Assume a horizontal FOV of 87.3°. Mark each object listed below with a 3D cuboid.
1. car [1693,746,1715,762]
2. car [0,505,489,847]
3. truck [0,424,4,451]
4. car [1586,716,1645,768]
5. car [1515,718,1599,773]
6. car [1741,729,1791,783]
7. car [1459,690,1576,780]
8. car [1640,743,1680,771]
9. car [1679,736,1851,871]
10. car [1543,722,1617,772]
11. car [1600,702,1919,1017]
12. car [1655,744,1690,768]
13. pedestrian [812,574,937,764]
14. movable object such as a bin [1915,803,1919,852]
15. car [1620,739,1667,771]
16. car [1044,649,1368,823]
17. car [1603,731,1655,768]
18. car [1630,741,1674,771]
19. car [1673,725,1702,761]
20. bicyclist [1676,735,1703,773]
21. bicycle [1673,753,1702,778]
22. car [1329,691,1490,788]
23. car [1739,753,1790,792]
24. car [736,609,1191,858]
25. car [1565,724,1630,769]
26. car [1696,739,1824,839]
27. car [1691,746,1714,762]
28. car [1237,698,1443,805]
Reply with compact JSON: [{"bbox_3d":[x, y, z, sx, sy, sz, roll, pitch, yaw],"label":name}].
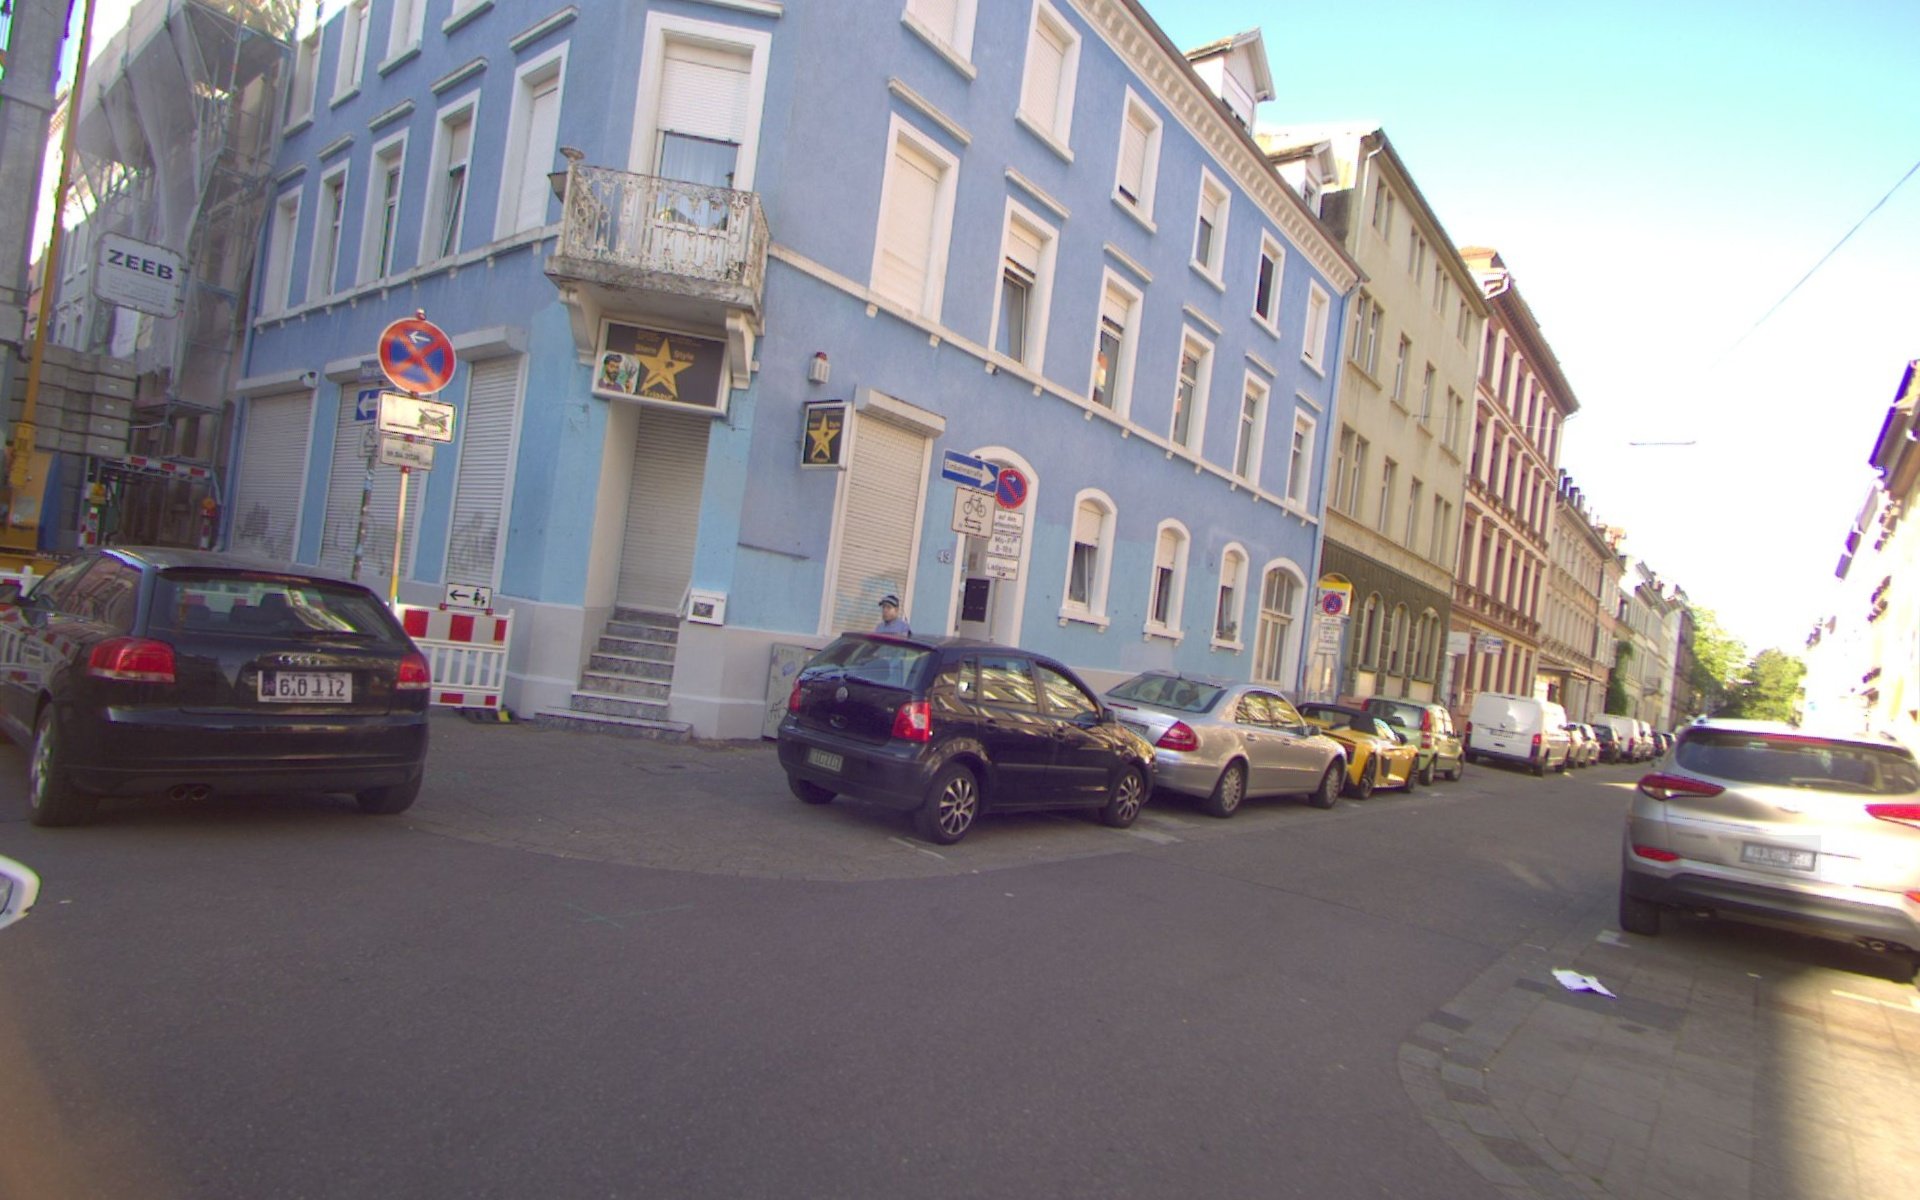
[{"bbox_3d":[82.493,17.043,111.478,1.728,1.529,3.903,2,-5,40],"label":"car"},{"bbox_3d":[-4.873,0.305,6.343,3.975,1.450,1.772,6,-3,39],"label":"car"},{"bbox_3d":[-18.687,-1.762,16.990,7.288,2.845,2.661,5,-3,40],"label":"truck"},{"bbox_3d":[29.483,6.368,45.176,1.728,2.075,3.903,2,-5,40],"label":"car"},{"bbox_3d":[19.642,4.771,33.036,1.728,1.529,3.903,2,-5,40],"label":"car"},{"bbox_3d":[40.948,7.913,51.107,1.820,2.458,3.903,2,-5,40],"label":"car"},{"bbox_3d":[15.156,3.650,27.207,1.809,1.968,4.538,7,-2,39],"label":"car"},{"bbox_3d":[44.545,9.983,64.021,1.728,1.529,3.903,2,-5,40],"label":"car"},{"bbox_3d":[11.850,2.891,14.835,1.728,1.529,3.903,2,-5,40],"label":"car"},{"bbox_3d":[22.602,5.361,36.634,1.728,1.529,3.903,2,-5,40],"label":"car"},{"bbox_3d":[6.391,1.799,7.811,1.830,1.650,4.058,4,-4,40],"label":"car"},{"bbox_3d":[51.541,11.274,72.773,1.728,1.529,3.903,2,-5,40],"label":"car"},{"bbox_3d":[-0.893,0.733,10.603,0.769,1.870,0.769,6,-2,39],"label":"pedestrian"},{"bbox_3d":[16.745,3.756,17.065,0.658,1.145,0.670,6,-3,41],"label":"movable object such as a bin"},{"bbox_3d":[37.238,8.438,54.798,1.728,1.529,3.903,2,-5,40],"label":"car"},{"bbox_3d":[3.098,1.606,11.932,1.732,1.450,4.467,9,-1,41],"label":"car"},{"bbox_3d":[33.268,7.425,49.969,1.728,1.529,3.903,2,-5,40],"label":"car"},{"bbox_3d":[40.495,9.122,58.820,1.728,1.529,3.903,2,-5,40],"label":"car"},{"bbox_3d":[64.017,12.573,88.504,1.728,2.947,4.178,2,-5,40],"label":"car"},{"bbox_3d":[30.763,6.505,42.438,0.753,1.487,1.001,6,-3,39],"label":"bicyclist"},{"bbox_3d":[30.714,6.984,42.461,0.803,0.913,2.163,6,-4,39],"label":"bicycle"},{"bbox_3d":[9.146,2.823,20.292,1.732,1.493,3.966,9,-1,41],"label":"car"},{"bbox_3d":[36.982,7.887,46.234,1.728,1.529,3.903,2,-5,40],"label":"car"},{"bbox_3d":[0.250,1.096,8.516,1.652,1.470,3.867,7,-2,40],"label":"car"},{"bbox_3d":[25.987,5.970,40.971,1.728,1.569,3.903,2,-5,40],"label":"car"},{"bbox_3d":[15.444,3.563,19.420,1.728,1.529,3.903,2,-5,40],"label":"car"},{"bbox_3d":[79.473,16.466,107.635,1.728,1.529,3.903,2,-5,40],"label":"car"},{"bbox_3d":[6.156,2.393,16.002,1.732,1.242,4.150,6,-3,40],"label":"car"}]
